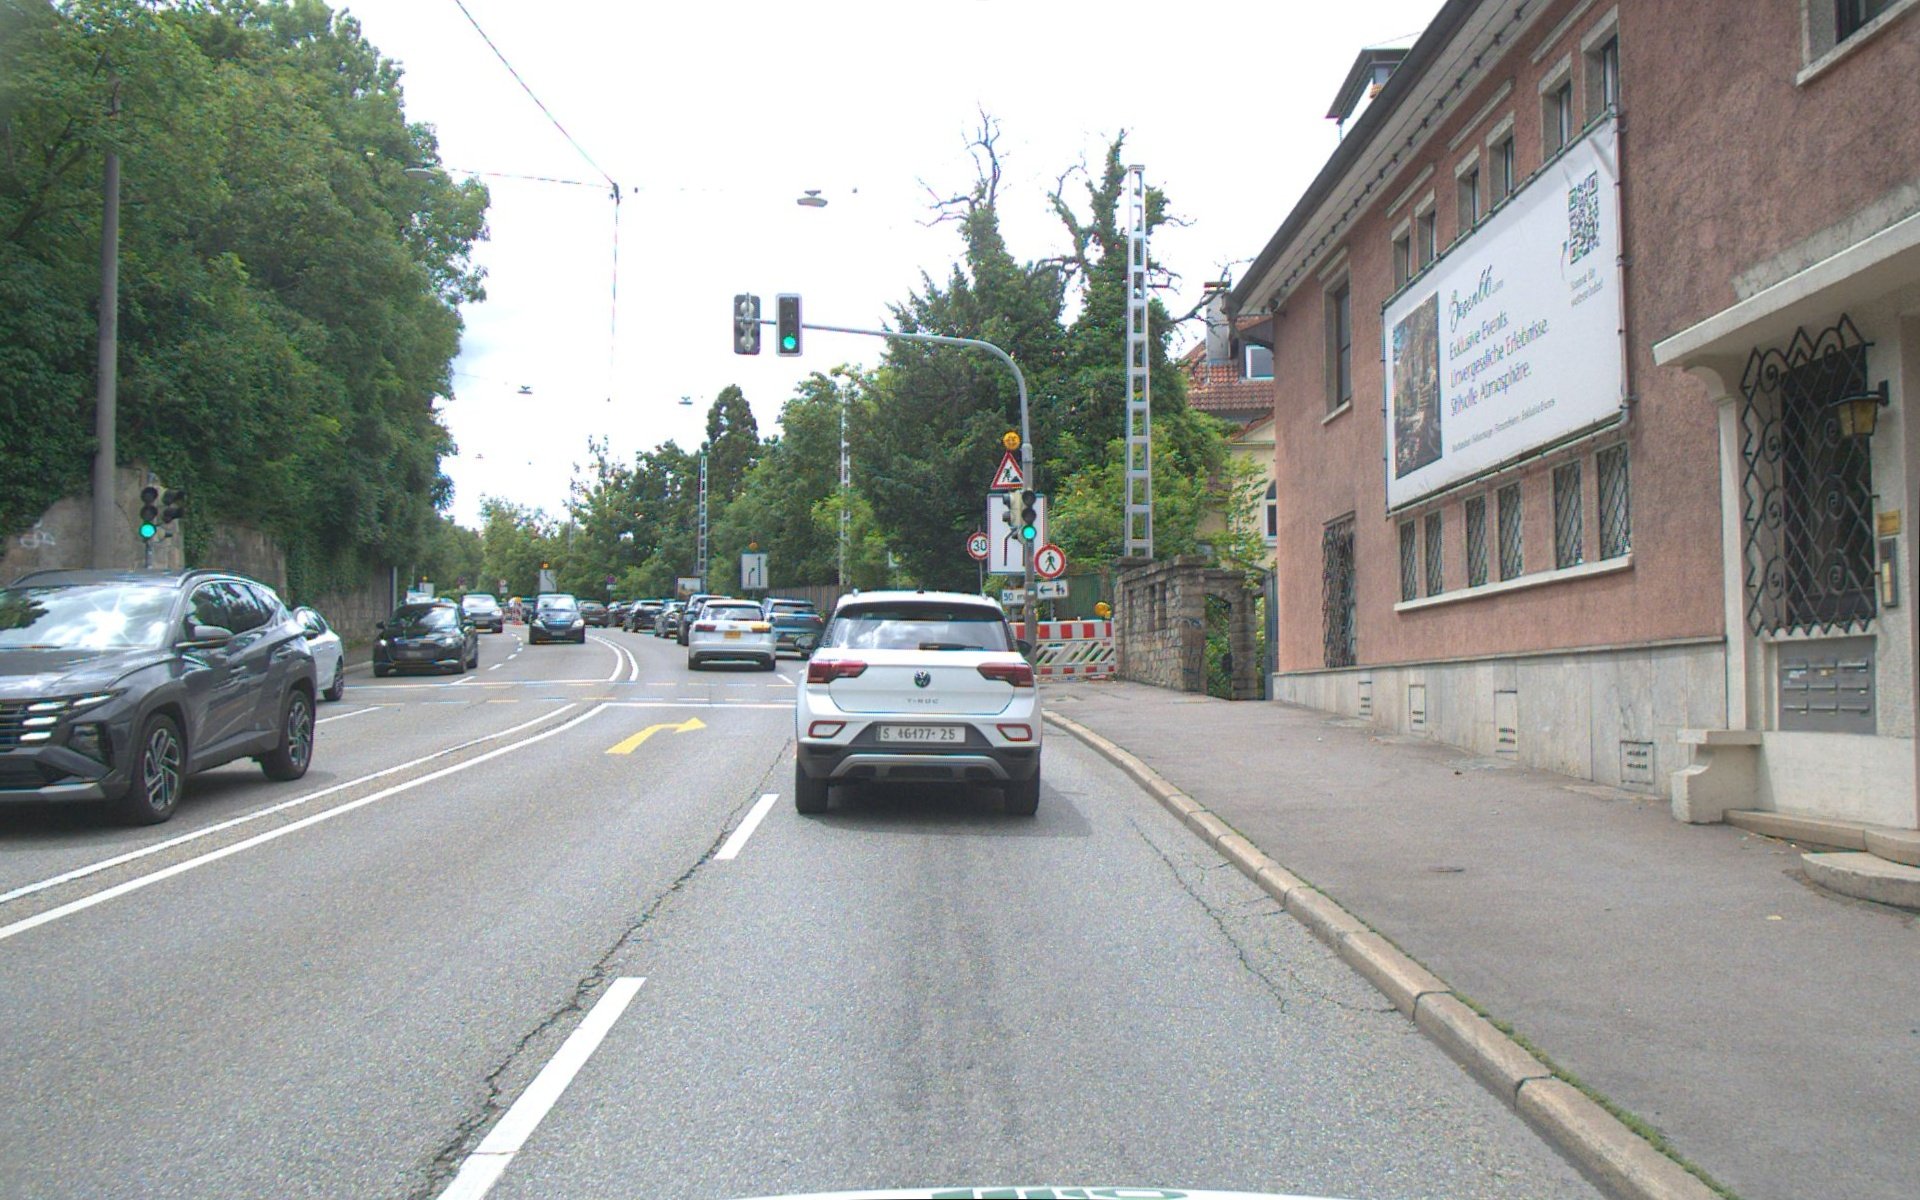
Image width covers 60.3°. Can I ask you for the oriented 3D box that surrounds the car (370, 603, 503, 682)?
[{"bbox_3d":[-10.831,0.831,34.501,1.650,1.443,4.424,-1,1,-5],"label":"car"}]

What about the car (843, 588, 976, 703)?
[{"bbox_3d":[-0.864,0.672,25.943,1.724,1.638,3.790,2,0,-7],"label":"car"}]

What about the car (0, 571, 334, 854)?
[{"bbox_3d":[-6.054,0.632,11.859,1.813,1.661,4.356,0,1,-5],"label":"car"}]

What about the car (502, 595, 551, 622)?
[{"bbox_3d":[-28.321,0.530,108.014,1.826,1.729,3.951,0,1,-35],"label":"car"}]

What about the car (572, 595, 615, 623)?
[{"bbox_3d":[-20.028,0.479,90.400,1.755,1.480,3.976,1,0,-20],"label":"car"}]

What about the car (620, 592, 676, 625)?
[{"bbox_3d":[-14.505,0.391,76.763,1.964,1.475,4.126,0,-1,-20],"label":"car"}]

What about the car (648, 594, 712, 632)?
[{"bbox_3d":[-11.181,0.518,65.833,1.962,1.475,4.130,0,-1,-17],"label":"car"}]

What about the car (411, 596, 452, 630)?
[{"bbox_3d":[-30.484,0.749,95.514,1.712,1.878,4.238,0,0,-11],"label":"car"}]

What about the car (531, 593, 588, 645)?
[{"bbox_3d":[-13.198,0.594,54.602,1.724,1.593,3.667,-1,1,-13],"label":"car"}]

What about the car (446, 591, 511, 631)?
[{"bbox_3d":[-20.812,0.461,71.401,1.969,1.636,4.440,-2,1,-26],"label":"car"}]

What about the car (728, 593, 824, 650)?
[{"bbox_3d":[-4.950,0.559,44.063,1.960,1.439,4.133,0,-1,-15],"label":"car"}]

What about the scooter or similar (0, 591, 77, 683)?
[{"bbox_3d":[-14.055,0.531,24.695,0.425,1.258,1.346,4,-5,32],"label":"scooter or similar"}]

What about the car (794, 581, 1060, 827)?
[{"bbox_3d":[-0.261,0.703,12.870,1.722,1.583,3.794,2,0,-1],"label":"car"}]

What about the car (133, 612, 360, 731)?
[{"bbox_3d":[-9.924,0.930,23.340,1.682,1.427,4.020,-1,1,-4],"label":"car"}]

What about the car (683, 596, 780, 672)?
[{"bbox_3d":[-4.946,0.697,35.450,1.727,1.497,3.783,2,0,-13],"label":"car"}]

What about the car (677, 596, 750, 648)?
[{"bbox_3d":[-8.194,0.693,54.710,1.960,1.583,4.135,1,0,-14],"label":"car"}]

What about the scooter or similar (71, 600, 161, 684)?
[{"bbox_3d":[-13.202,0.665,25.895,0.426,1.259,1.092,4,-1,39],"label":"scooter or similar"}]
